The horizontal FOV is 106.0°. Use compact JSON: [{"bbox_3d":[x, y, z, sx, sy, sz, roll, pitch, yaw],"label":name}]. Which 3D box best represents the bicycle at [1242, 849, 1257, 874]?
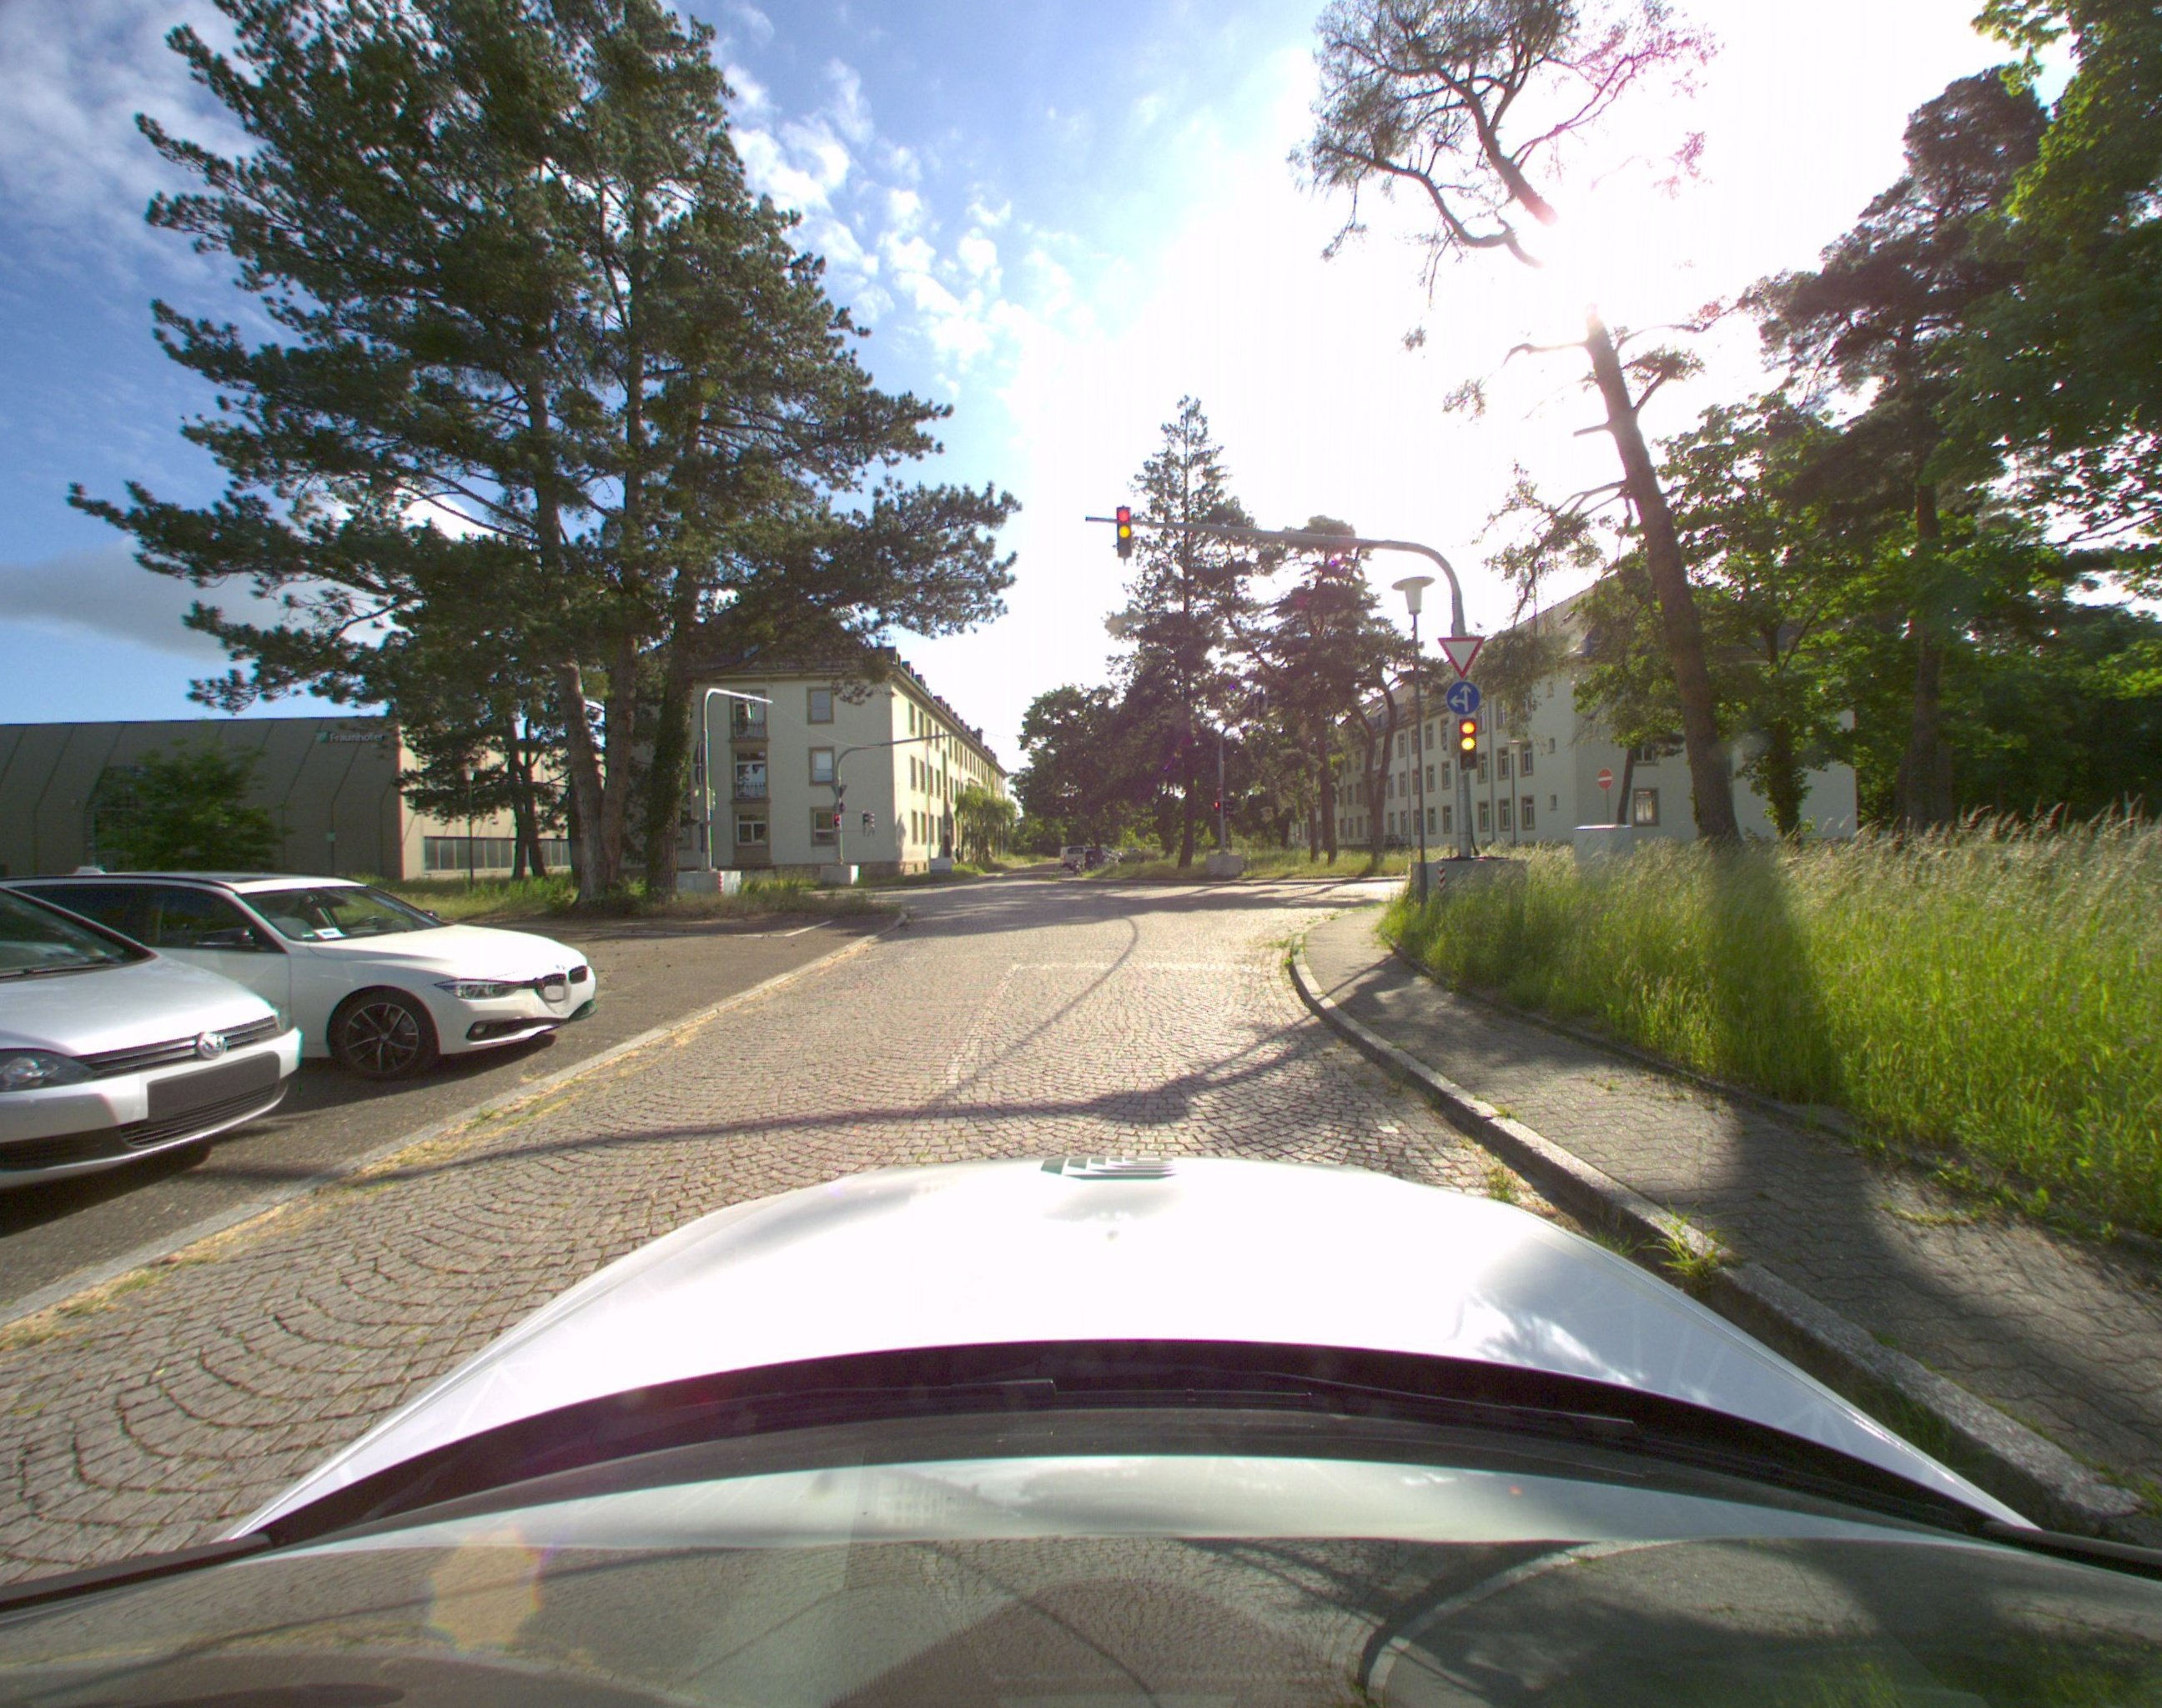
[{"bbox_3d":[7.521,0.337,36.321,0.464,1.080,1.175,-2,0,4],"label":"bicycle"}]

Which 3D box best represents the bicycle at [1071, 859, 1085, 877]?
[{"bbox_3d":[-0.161,0.749,44.925,0.693,0.971,1.859,-1,0,-2],"label":"bicycle"}]

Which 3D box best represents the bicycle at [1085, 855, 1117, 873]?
[{"bbox_3d":[1.191,0.603,48.415,1.850,1.031,0.749,-1,0,-3],"label":"bicycle"}]

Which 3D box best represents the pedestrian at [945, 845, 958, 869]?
[{"bbox_3d":[-10.104,0.220,63.616,0.762,1.817,0.684,-2,0,11],"label":"pedestrian"}]

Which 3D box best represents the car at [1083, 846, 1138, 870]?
[{"bbox_3d":[2.230,0.268,62.193,3.984,1.684,1.842,-2,0,-8],"label":"car"}]

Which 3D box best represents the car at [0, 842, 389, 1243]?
[{"bbox_3d":[-6.243,0.751,4.063,3.936,1.626,1.719,1,0,-5],"label":"car"}]

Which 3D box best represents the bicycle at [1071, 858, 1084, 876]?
[{"bbox_3d":[-0.211,0.739,46.862,0.693,0.971,1.859,-1,0,-2],"label":"bicycle"}]

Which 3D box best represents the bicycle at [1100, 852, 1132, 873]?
[{"bbox_3d":[2.130,0.505,49.921,1.936,1.235,0.485,-1,0,-3],"label":"bicycle"}]

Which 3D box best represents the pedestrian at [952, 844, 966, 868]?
[{"bbox_3d":[-9.406,0.167,62.775,0.806,1.817,0.557,-2,0,11],"label":"pedestrian"}]

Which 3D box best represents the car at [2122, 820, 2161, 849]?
[{"bbox_3d":[57.355,-1.061,42.490,3.978,1.464,1.845,-2,0,-3],"label":"car"}]

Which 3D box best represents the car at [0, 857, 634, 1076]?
[{"bbox_3d":[-6.392,0.809,6.568,4.530,1.467,1.751,1,0,-3],"label":"car"}]

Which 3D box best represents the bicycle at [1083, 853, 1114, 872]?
[{"bbox_3d":[1.103,0.547,51.519,1.938,1.129,0.646,-1,0,-6],"label":"bicycle"}]

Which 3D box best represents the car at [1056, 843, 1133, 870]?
[{"bbox_3d":[1.060,0.164,66.435,5.925,2.013,2.469,-2,0,-7],"label":"car"}]

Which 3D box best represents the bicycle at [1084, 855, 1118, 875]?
[{"bbox_3d":[1.205,0.643,49.213,1.936,1.129,0.749,-1,0,-3],"label":"bicycle"}]

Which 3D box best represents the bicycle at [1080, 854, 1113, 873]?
[{"bbox_3d":[0.934,0.600,50.430,1.951,1.129,0.642,-2,0,-27],"label":"bicycle"}]
